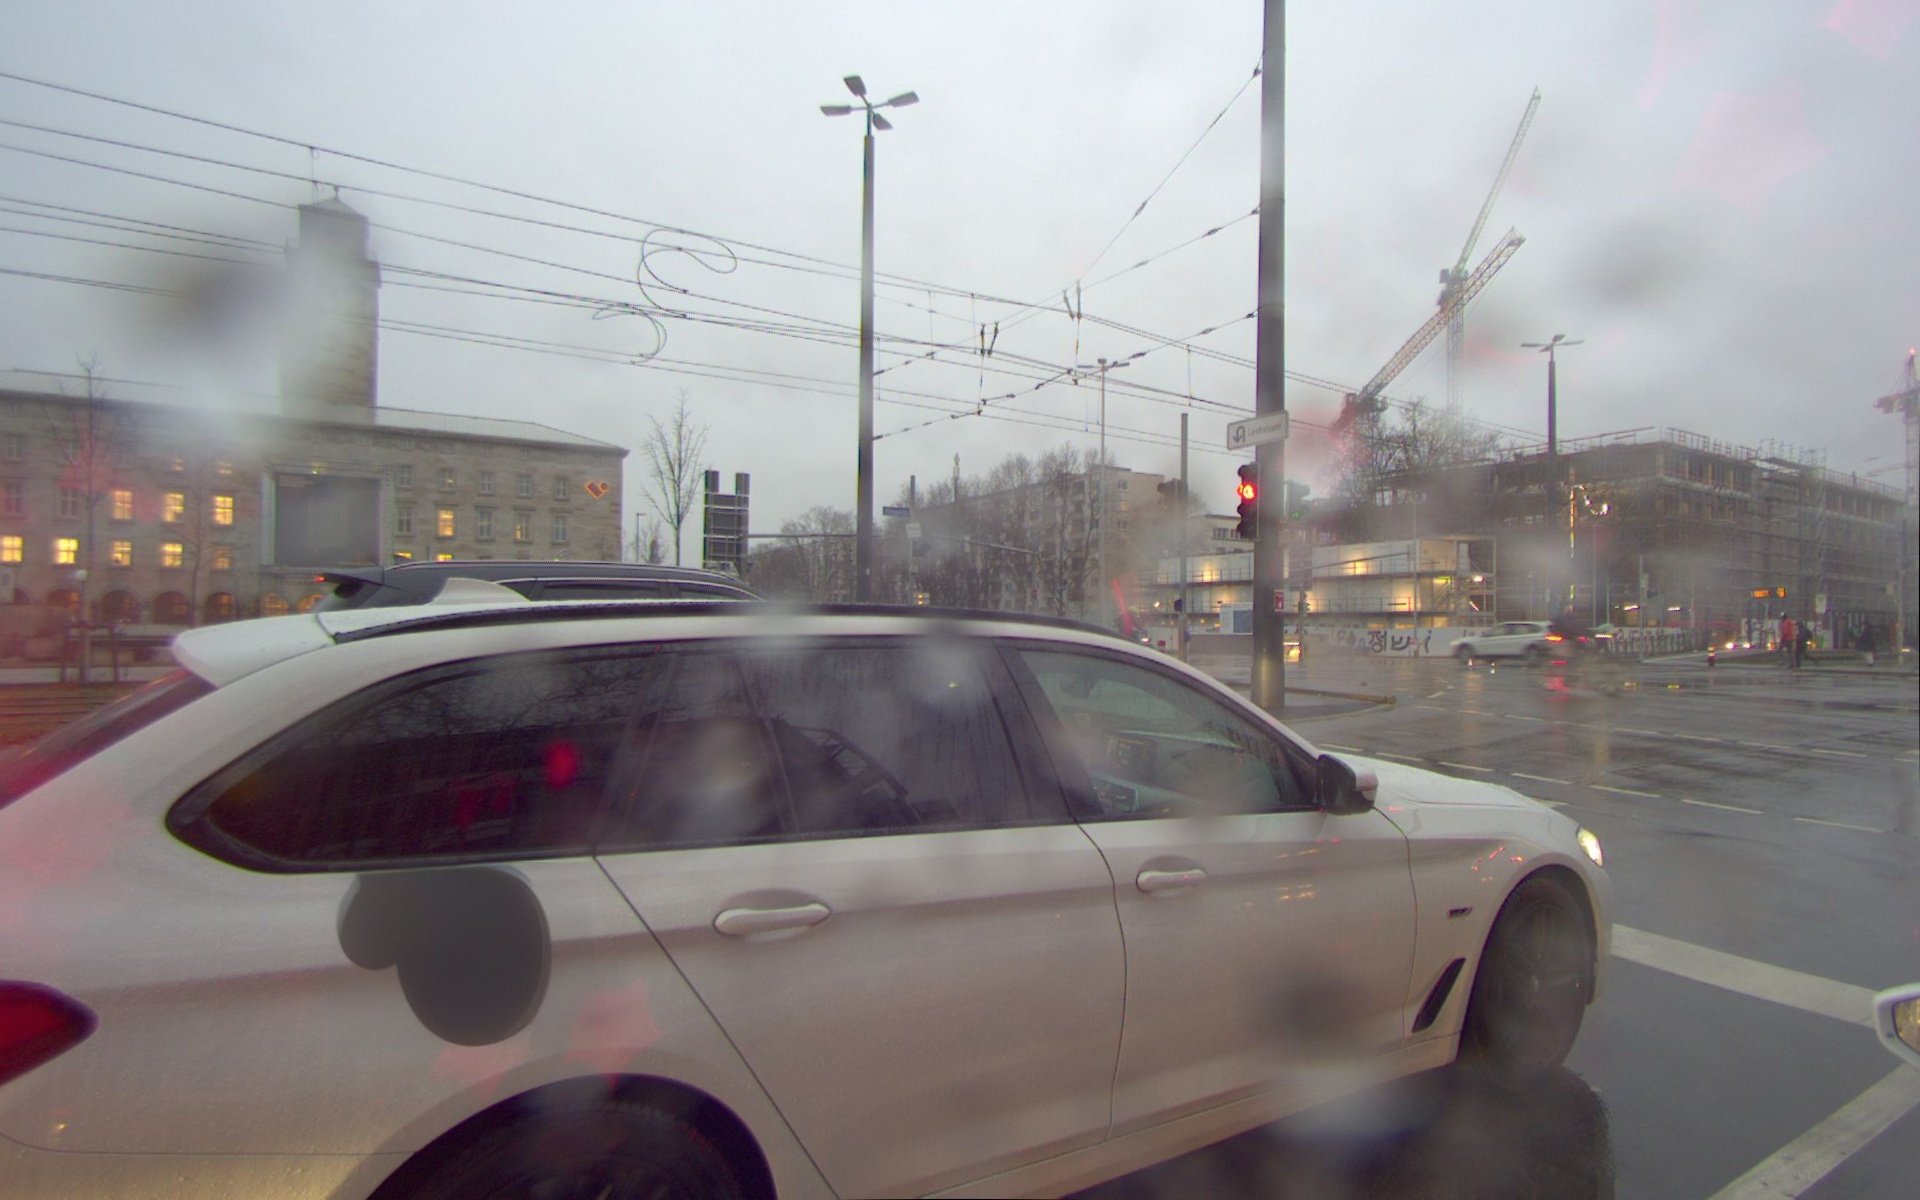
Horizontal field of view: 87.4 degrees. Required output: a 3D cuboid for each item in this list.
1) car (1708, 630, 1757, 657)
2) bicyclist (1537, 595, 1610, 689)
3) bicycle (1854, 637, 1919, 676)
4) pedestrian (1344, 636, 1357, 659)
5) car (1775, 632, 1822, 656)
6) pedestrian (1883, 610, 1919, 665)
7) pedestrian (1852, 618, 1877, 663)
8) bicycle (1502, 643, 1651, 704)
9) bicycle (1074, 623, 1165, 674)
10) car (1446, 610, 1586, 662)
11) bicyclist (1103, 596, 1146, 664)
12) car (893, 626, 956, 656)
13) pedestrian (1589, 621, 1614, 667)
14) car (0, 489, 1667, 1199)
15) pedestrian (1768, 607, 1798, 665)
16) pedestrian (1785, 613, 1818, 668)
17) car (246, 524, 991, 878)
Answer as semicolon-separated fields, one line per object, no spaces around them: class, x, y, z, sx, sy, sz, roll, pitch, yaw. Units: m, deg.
car;61.946;3.490;80.488;3.958;2.040;1.981;2;-2;-34
bicyclist;11.561;0.784;18.929;0.612;1.719;1.026;2;-2;-36
bicycle;28.003;1.700;29.799;0.537;1.004;2.111;6;-1;-38
pedestrian;27.286;3.312;70.164;0.781;1.549;0.646;0;-2;25
car;73.533;3.877;88.078;3.953;2.040;1.984;2;-2;-30
pedestrian;28.022;1.104;29.825;0.532;1.590;0.808;5;-2;-39
pedestrian;33.418;1.489;37.110;0.671;1.640;0.705;-1;-2;43
bicycle;11.550;1.354;18.917;0.612;1.046;2.356;2;-2;-36
bicycle;4.476;1.352;28.437;0.714;1.380;2.809;2;-3;-38
car;20.320;1.294;36.906;1.686;1.785;4.284;1;-2;-29
bicyclist;4.613;0.845;28.234;0.715;1.863;0.986;2;-2;-39
car;-2.121;2.407;59.336;1.978;1.706;3.965;1;-2;-33
pedestrian;29.060;1.982;45.499;0.741;2.040;0.785;2;-2;-40
car;-0.109;0.697;3.004;4.868;1.540;1.900;2;-2;-32
pedestrian;30.495;1.324;37.239;0.674;2.115;0.613;0;-1;20
pedestrian;31.409;1.504;37.489;0.762;2.040;0.613;0;-1;22
car;-2.125;0.574;7.016;4.564;1.766;1.692;2;-2;-34
